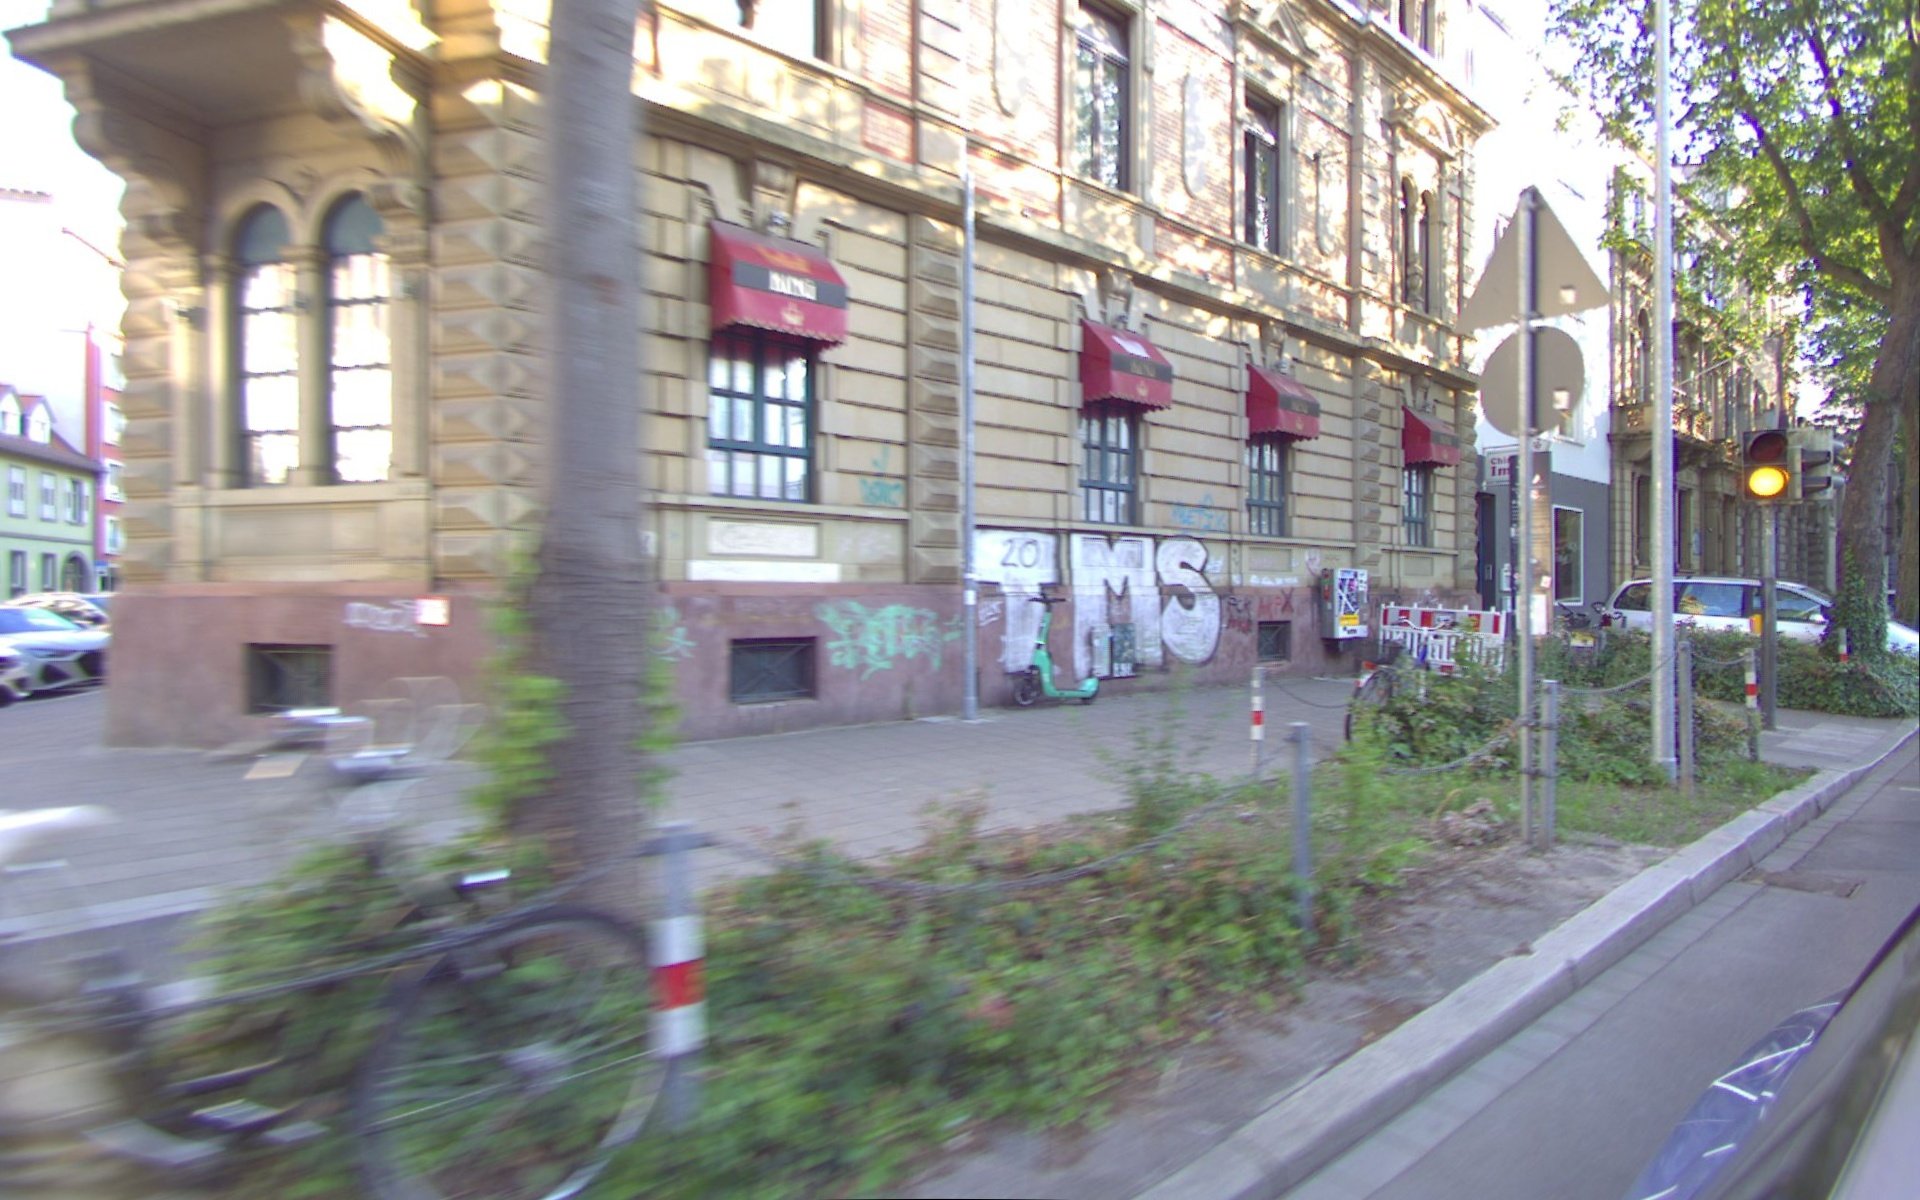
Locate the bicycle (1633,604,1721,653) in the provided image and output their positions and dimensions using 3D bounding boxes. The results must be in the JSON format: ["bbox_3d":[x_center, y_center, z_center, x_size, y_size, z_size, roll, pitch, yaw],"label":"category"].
[{"bbox_3d":[11.129,0.418,15.670,2.289,0.673,0.582,-1,0,-41],"label":"bicycle"}]

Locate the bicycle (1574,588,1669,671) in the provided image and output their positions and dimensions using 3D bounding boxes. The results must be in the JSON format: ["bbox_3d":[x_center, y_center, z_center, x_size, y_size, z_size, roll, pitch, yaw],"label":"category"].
[{"bbox_3d":[10.641,0.440,16.258,2.120,1.255,0.582,0,0,-37],"label":"bicycle"}]

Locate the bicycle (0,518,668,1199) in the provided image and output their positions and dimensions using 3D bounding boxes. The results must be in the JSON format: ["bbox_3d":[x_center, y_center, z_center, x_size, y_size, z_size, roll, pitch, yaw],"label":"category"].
[{"bbox_3d":[-1.244,0.565,1.912,1.262,1.389,0.418,0,1,-30],"label":"bicycle"}]

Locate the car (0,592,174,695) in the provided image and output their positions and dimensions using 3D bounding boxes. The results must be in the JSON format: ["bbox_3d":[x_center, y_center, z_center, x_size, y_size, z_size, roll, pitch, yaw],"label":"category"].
[{"bbox_3d":[-15.354,0.618,15.994,4.896,1.476,1.869,1,-1,11],"label":"car"}]

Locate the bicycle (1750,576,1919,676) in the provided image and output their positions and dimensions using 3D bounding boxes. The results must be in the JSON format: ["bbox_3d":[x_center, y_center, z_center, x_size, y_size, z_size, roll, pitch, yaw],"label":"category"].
[{"bbox_3d":[15.863,0.440,17.739,0.647,1.684,3.114,0,-1,-44],"label":"bicycle"}]

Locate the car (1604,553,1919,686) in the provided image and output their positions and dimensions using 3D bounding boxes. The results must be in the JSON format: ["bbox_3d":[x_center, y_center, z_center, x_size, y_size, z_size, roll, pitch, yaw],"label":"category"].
[{"bbox_3d":[13.514,0.249,16.690,1.917,1.938,4.546,0,1,-42],"label":"car"}]

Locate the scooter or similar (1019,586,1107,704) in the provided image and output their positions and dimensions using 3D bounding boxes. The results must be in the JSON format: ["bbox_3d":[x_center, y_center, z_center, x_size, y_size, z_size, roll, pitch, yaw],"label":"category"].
[{"bbox_3d":[1.119,0.466,10.865,1.073,1.209,0.251,1,-1,-40],"label":"scooter or similar"}]

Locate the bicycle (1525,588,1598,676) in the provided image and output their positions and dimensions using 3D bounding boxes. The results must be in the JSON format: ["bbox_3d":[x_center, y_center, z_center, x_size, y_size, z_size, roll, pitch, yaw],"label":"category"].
[{"bbox_3d":[9.034,0.452,15.171,1.694,1.250,0.386,0,1,-39],"label":"bicycle"}]

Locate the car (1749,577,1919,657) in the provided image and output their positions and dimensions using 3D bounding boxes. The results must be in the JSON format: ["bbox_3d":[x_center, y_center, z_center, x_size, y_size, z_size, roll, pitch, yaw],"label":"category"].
[{"bbox_3d":[19.459,0.336,21.235,1.934,1.580,4.237,1,1,-37],"label":"car"}]

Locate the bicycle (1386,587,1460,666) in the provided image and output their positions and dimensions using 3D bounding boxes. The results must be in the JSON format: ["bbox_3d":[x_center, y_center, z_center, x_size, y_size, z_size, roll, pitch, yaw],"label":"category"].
[{"bbox_3d":[7.540,0.407,16.440,1.694,1.226,0.386,0,1,-39],"label":"bicycle"}]

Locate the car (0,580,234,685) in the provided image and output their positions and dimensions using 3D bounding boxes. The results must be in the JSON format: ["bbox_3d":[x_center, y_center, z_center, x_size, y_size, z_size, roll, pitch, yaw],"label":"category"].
[{"bbox_3d":[-15.681,0.532,18.344,4.071,1.747,1.775,1,0,10],"label":"car"}]

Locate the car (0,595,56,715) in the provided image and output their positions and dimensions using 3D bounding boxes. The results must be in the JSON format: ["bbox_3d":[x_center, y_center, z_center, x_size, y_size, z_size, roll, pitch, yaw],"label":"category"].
[{"bbox_3d":[-14.402,0.662,12.779,4.914,1.476,1.981,1,0,13],"label":"car"}]

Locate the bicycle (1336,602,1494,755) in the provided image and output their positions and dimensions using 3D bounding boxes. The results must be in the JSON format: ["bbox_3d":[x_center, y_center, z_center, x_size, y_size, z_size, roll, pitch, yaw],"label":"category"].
[{"bbox_3d":[4.026,0.610,8.851,0.523,1.167,2.213,0,0,45],"label":"bicycle"}]

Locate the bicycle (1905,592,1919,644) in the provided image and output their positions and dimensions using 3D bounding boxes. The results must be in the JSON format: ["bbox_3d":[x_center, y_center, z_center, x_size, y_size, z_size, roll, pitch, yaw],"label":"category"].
[{"bbox_3d":[23.521,0.471,23.661,2.015,1.219,0.482,3,2,38],"label":"bicycle"}]

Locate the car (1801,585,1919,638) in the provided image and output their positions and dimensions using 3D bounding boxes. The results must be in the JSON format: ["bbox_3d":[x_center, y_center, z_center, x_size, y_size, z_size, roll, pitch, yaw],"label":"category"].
[{"bbox_3d":[26.702,0.310,28.315,1.890,1.455,4.595,0,1,-38],"label":"car"}]
